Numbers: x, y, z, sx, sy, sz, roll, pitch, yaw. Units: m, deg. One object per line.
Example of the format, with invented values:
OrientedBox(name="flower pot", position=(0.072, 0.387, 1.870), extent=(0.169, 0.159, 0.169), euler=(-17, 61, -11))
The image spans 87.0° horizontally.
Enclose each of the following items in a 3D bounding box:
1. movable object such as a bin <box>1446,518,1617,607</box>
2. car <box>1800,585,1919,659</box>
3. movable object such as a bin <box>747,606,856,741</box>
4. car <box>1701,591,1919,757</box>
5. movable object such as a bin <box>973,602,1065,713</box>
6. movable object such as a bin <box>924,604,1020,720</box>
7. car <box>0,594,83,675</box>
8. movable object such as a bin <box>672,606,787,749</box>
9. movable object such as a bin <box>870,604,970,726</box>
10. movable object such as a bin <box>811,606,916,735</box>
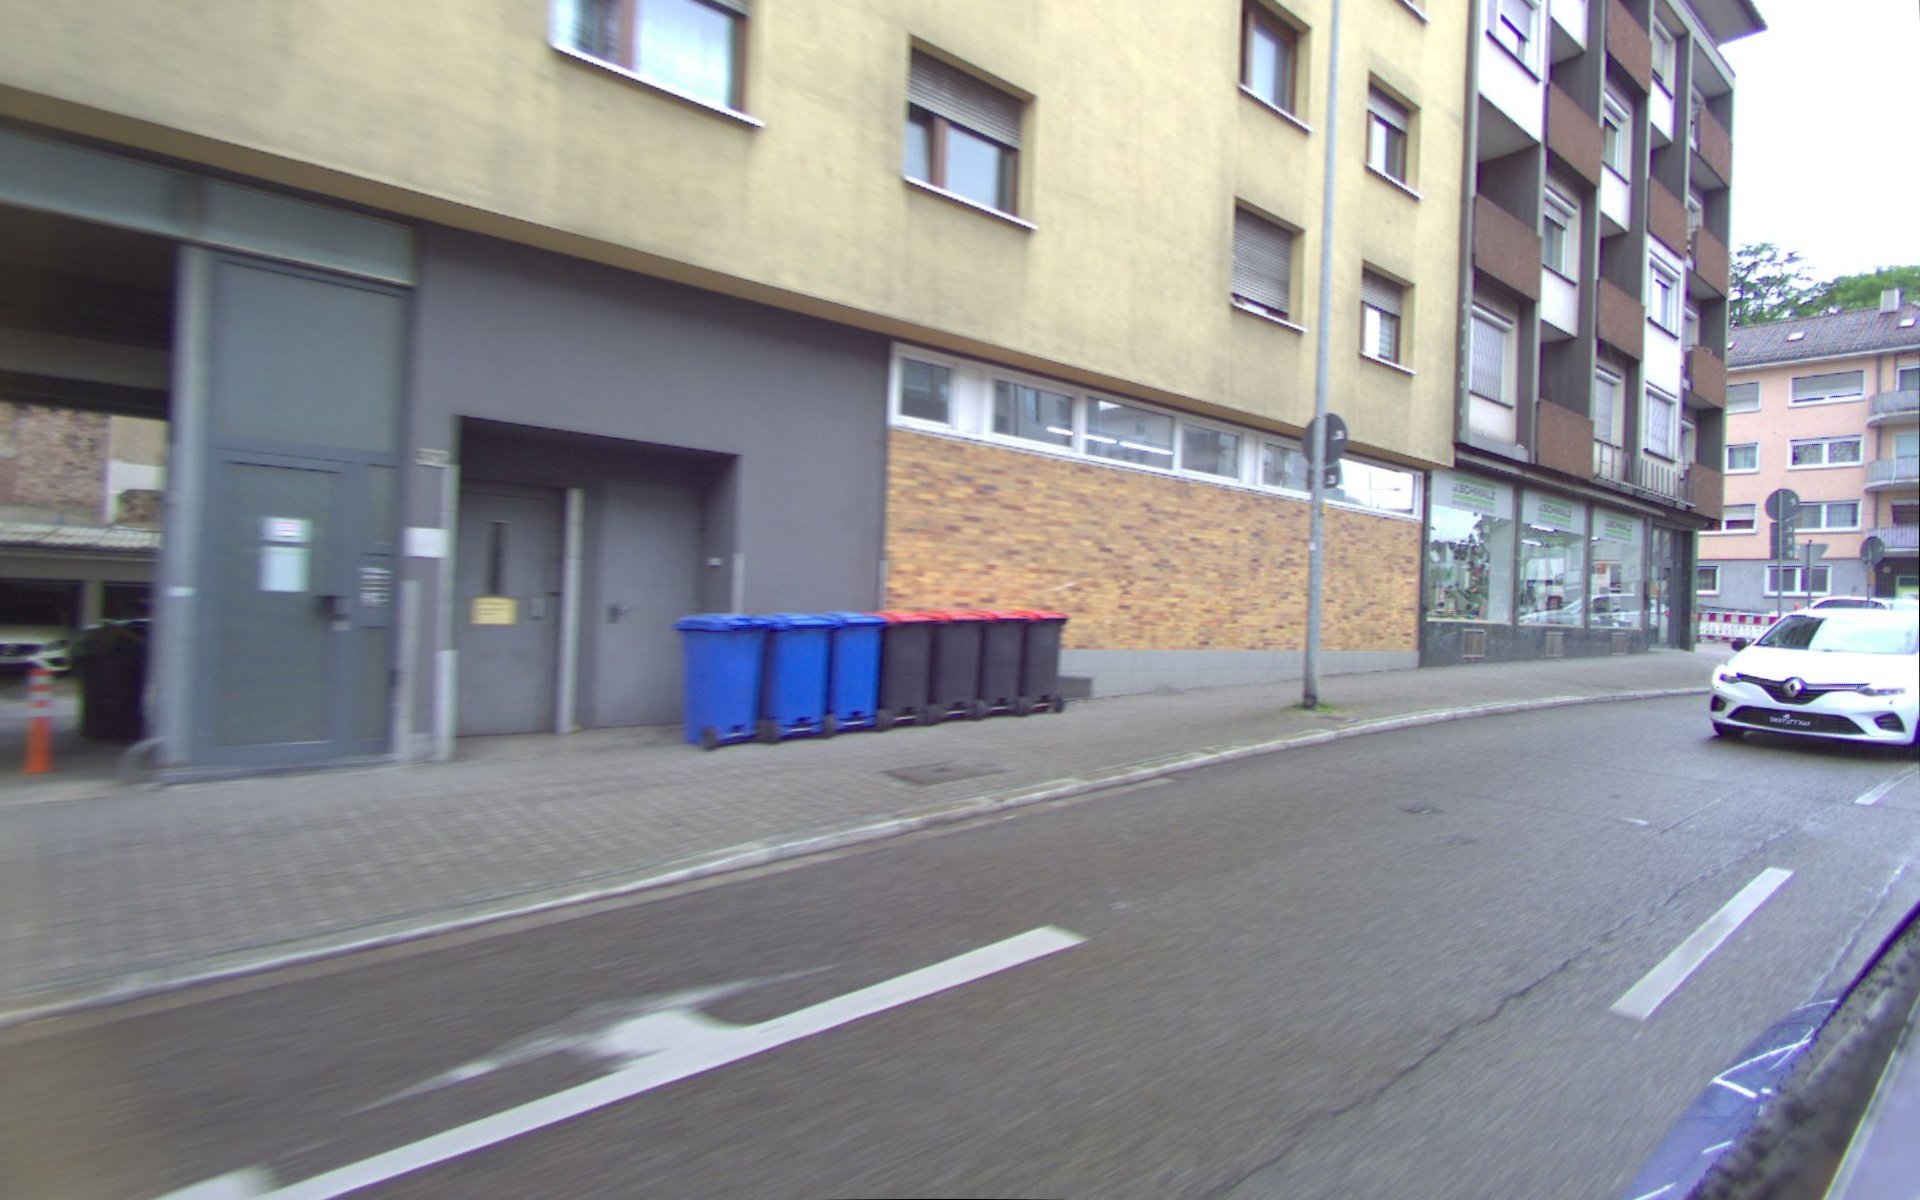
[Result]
OrientedBox(name="movable object such as a bin", position=(28.194, -1.926, 50.163), extent=(2.694, 3.679, 6.534), euler=(3, 5, -41))
OrientedBox(name="car", position=(25.151, 0.615, 26.549), extent=(1.961, 1.741, 4.803), euler=(3, 3, -3))
OrientedBox(name="movable object such as a bin", position=(-1.384, 0.611, 8.805), extent=(0.657, 1.090, 0.682), euler=(1, 1, -41))
OrientedBox(name="car", position=(9.844, 0.702, 10.934), extent=(3.922, 1.420, 1.683), euler=(1, 2, -34))
OrientedBox(name="movable object such as a bin", position=(0.619, 0.580, 10.608), extent=(0.657, 1.090, 0.682), euler=(1, 1, -41))
OrientedBox(name="movable object such as a bin", position=(0.120, 0.599, 10.152), extent=(0.657, 1.090, 0.682), euler=(1, 1, -41))
OrientedBox(name="car", position=(-19.646, 0.660, 21.054), extent=(1.964, 1.420, 3.996), euler=(2, 1, -40))
OrientedBox(name="movable object such as a bin", position=(-1.904, 0.604, 8.352), extent=(0.657, 1.090, 0.682), euler=(1, 1, -41))
OrientedBox(name="movable object such as a bin", position=(-0.386, 0.594, 9.705), extent=(0.657, 1.090, 0.682), euler=(1, 1, -41))
OrientedBox(name="movable object such as a bin", position=(-0.886, 0.615, 9.258), extent=(0.657, 1.090, 0.682), euler=(1, 1, -41))
